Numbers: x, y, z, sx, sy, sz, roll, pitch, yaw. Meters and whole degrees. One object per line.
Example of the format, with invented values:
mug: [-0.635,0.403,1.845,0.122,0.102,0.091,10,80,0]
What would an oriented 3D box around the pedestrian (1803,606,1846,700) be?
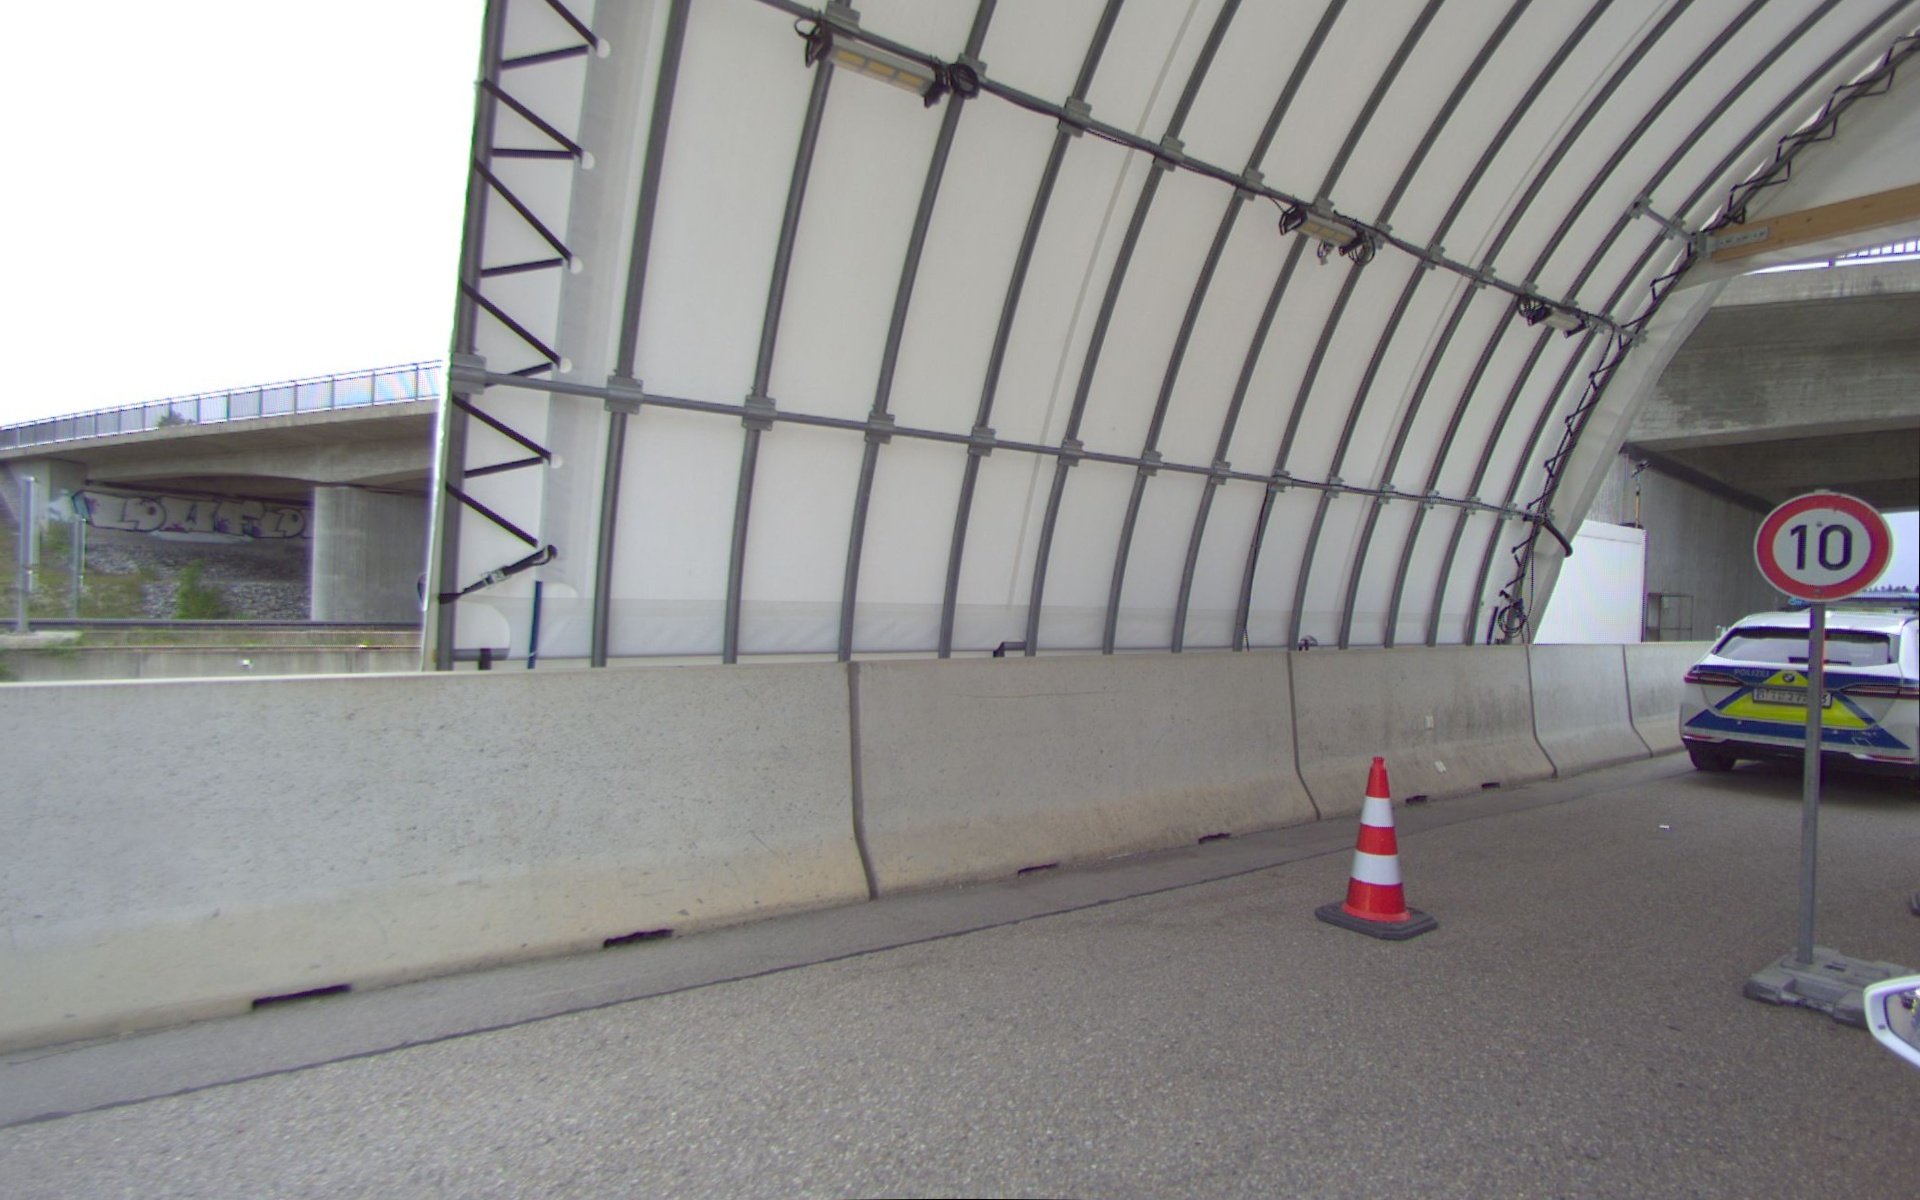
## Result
pedestrian: [19.097,1.152,22.185,0.650,2.040,0.619,1,-1,-39]

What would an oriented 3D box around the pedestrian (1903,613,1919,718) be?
pedestrian: [19.038,1.282,19.633,0.693,2.040,0.688,1,-1,-25]

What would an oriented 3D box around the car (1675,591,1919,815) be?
car: [8.363,0.825,9.223,3.964,1.668,1.864,2,-2,-37]

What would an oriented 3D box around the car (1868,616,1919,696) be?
car: [25.692,1.439,24.692,1.810,2.040,4.807,1,-1,-15]
